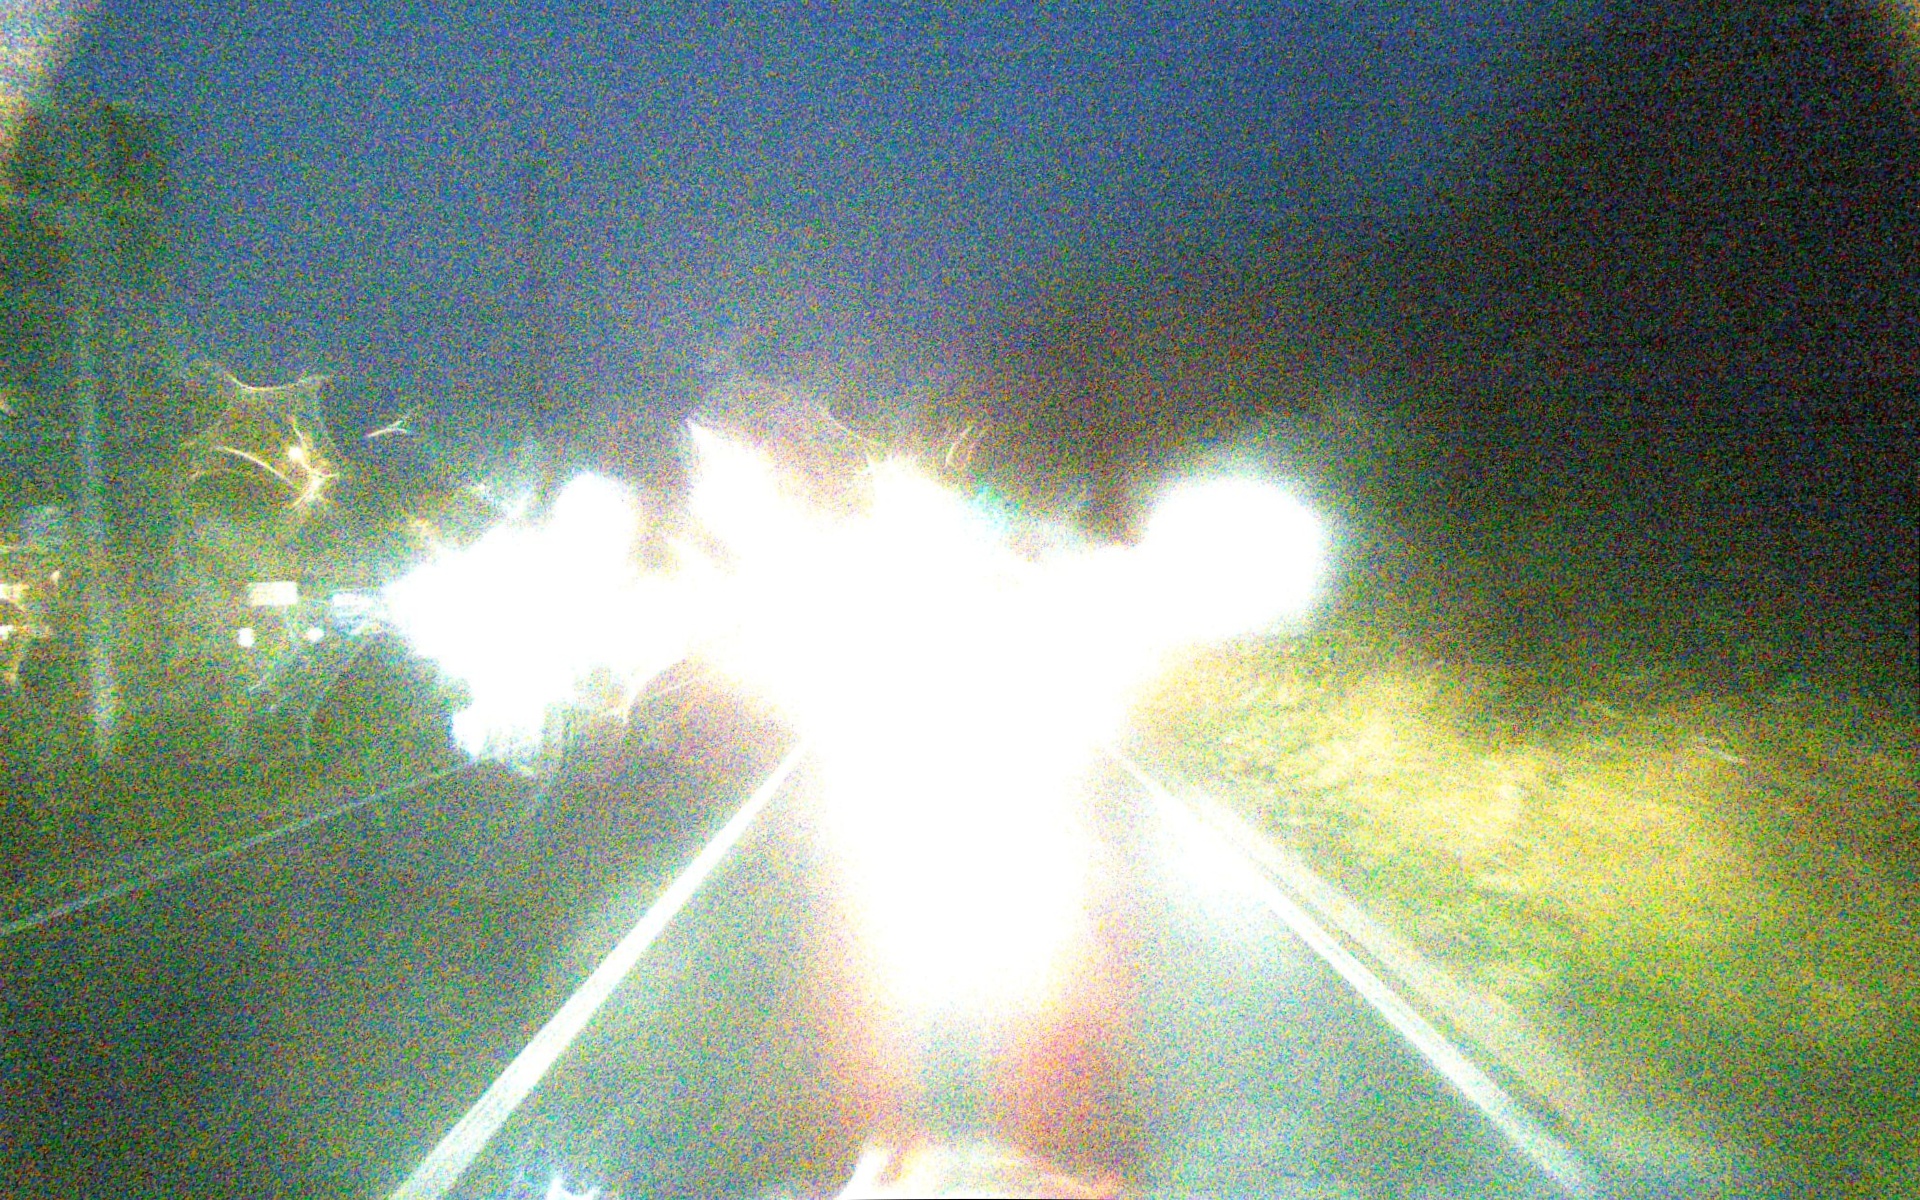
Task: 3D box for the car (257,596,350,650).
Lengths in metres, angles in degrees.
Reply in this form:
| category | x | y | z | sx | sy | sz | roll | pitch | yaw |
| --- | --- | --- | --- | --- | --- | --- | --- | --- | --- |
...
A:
| category | x | y | z | sx | sy | sz | roll | pitch | yaw |
| --- | --- | --- | --- | --- | --- | --- | --- | --- | --- |
| car | -23.013 | 0.781 | 58.140 | 1.750 | 1.723 | 4.217 | -1 | 1 | -3 |

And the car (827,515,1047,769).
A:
| category | x | y | z | sx | sy | sz | roll | pitch | yaw |
| --- | --- | --- | --- | --- | --- | --- | --- | --- | --- |
| car | -0.245 | 0.316 | 16.244 | 1.755 | 2.057 | 4.578 | -3 | 1 | -1 |
